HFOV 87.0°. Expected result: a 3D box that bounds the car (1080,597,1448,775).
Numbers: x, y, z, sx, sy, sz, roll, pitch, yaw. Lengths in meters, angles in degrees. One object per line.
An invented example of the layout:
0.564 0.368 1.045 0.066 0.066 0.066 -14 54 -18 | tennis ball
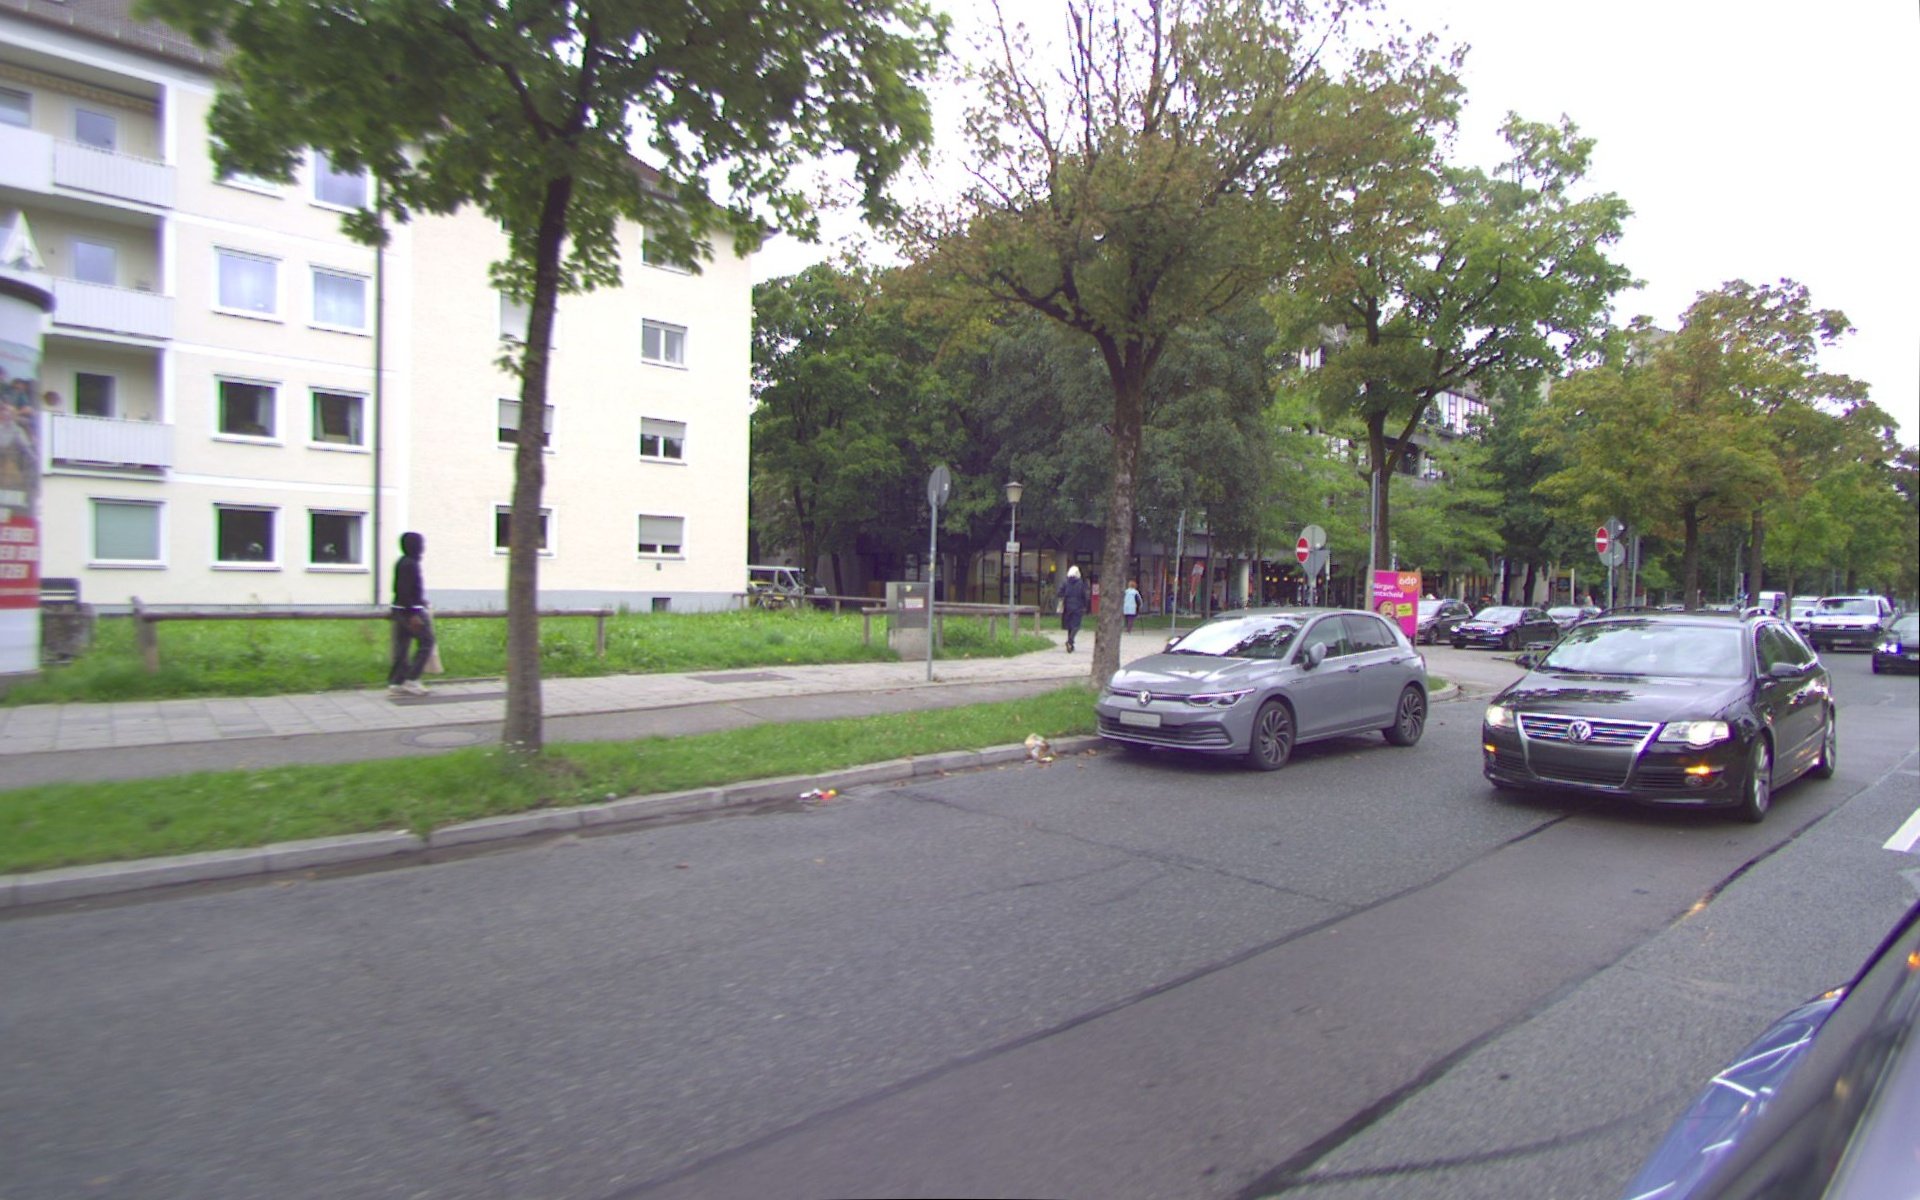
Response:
3.240 0.725 10.398 4.041 1.484 1.685 0 -1 -40 | car

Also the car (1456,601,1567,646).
18.140 0.734 33.229 4.273 1.397 1.725 0 0 -39 | car

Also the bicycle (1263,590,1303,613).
16.891 0.081 52.973 0.447 1.134 2.079 1 1 -40 | bicycle

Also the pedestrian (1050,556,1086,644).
2.192 0.003 20.446 0.632 1.752 0.598 0 0 17 | pedestrian

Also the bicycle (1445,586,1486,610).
33.611 -0.134 67.321 0.638 1.551 2.312 1 1 -40 | bicycle

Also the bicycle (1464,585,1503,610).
35.857 -0.166 69.336 0.638 1.643 2.312 1 1 -40 | bicycle

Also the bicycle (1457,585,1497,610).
35.135 -0.193 68.814 0.638 1.643 2.312 1 1 -40 | bicycle

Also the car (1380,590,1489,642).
16.656 0.537 35.457 4.121 1.654 1.826 0 2 -39 | car

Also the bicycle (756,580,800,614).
-5.516 -0.109 30.590 0.448 0.983 1.693 1 1 -44 | bicycle

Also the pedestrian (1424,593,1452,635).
18.785 0.548 39.769 0.738 1.614 0.660 1 0 -22 | pedestrian

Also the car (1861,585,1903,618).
78.338 0.108 85.914 5.901 2.691 1.976 0 -1 -41 | car

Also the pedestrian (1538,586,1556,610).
43.318 -0.146 74.684 0.856 1.719 0.772 0 2 -26 | pedestrian

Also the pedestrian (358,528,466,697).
-6.035 0.117 11.150 0.639 1.771 0.837 3 2 40 | pedestrian

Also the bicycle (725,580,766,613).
-6.766 -0.124 31.864 0.448 0.983 1.693 1 1 -44 | bicycle

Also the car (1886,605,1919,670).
23.081 0.836 23.608 4.385 1.431 1.761 0 -1 -42 | car

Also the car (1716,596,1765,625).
48.733 0.627 63.154 4.270 1.654 1.861 0 2 -44 | car

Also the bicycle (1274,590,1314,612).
17.710 0.054 53.767 0.447 1.134 2.079 1 1 -40 | bicycle

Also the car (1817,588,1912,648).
31.573 0.583 35.282 4.847 1.952 1.884 0 -1 -41 | car

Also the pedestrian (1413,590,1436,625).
21.013 0.333 45.800 0.618 1.561 0.662 1 2 -16 | pedestrian

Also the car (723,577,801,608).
-8.661 -0.333 44.101 1.559 1.216 3.742 1 1 -43 | car

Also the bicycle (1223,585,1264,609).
14.076 -0.174 50.306 0.447 1.134 2.079 1 1 -40 | bicycle

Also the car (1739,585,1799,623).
57.373 0.274 71.710 5.755 2.560 2.267 0 1 -41 | car

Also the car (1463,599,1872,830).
6.057 0.730 8.453 4.363 1.451 1.734 0 -1 -40 | car

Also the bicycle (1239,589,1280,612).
15.248 0.026 51.542 0.447 1.134 2.079 1 1 -40 | bicycle

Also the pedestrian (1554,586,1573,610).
45.330 -0.157 76.002 0.755 1.719 0.875 0 2 -26 | pedestrian

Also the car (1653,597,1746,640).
26.495 0.615 36.223 4.609 1.450 1.730 0 0 -41 | car

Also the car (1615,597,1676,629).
36.040 0.685 53.163 4.527 1.550 1.823 1 1 -45 | car

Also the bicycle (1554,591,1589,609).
48.311 0.007 79.998 0.637 1.318 2.313 1 1 -39 | bicycle

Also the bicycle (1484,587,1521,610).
38.655 -0.113 72.122 2.298 1.643 0.642 1 1 33 | bicycle

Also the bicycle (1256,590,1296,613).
16.255 0.081 52.114 0.447 1.134 2.079 1 1 -40 | bicycle

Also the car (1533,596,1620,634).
27.124 0.621 44.465 4.519 1.550 1.826 0 2 -39 | car

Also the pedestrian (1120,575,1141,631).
4.915 0.069 29.214 0.571 1.594 0.779 0 0 8 | pedestrian

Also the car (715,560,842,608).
-8.581 -0.781 47.644 6.074 2.078 2.315 2 1 36 | car

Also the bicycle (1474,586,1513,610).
36.900 -0.162 70.005 0.638 1.643 2.312 1 1 -40 | bicycle

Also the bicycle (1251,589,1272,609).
17.385 -0.039 58.342 1.529 1.134 0.454 0 1 -45 | bicycle

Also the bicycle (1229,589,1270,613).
14.532 0.039 50.904 0.447 1.134 2.079 1 1 -40 | bicycle
